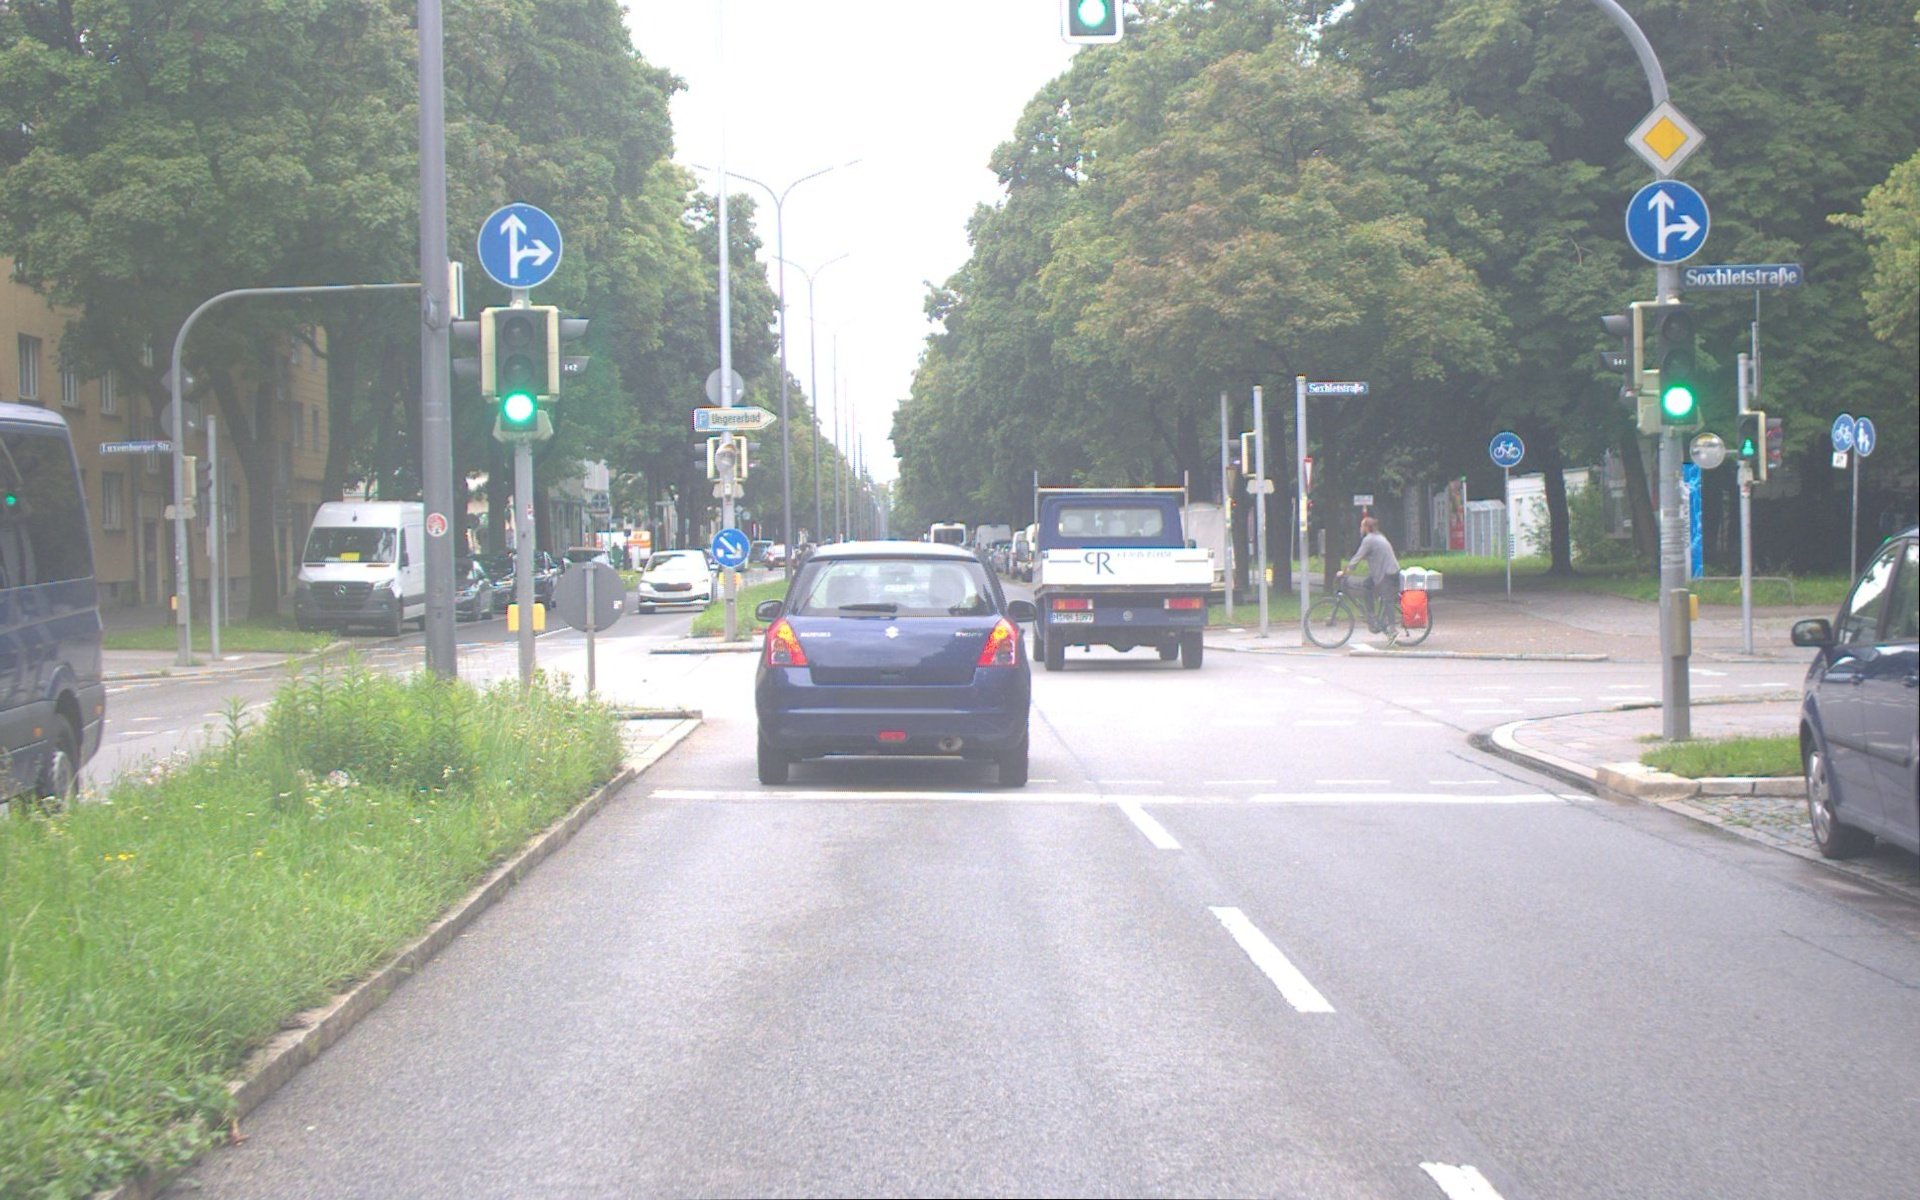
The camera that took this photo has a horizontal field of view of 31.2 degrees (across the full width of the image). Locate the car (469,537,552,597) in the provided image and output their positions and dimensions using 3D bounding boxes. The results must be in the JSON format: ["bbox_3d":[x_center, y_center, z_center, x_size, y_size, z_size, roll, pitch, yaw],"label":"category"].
[{"bbox_3d":[-11.535,-0.858,88.368,1.636,1.437,3.735,-2,1,-1],"label":"car"}]

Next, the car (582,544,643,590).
[{"bbox_3d":[-11.508,-1.115,113.949,1.636,1.437,3.735,-2,1,-1],"label":"car"}]

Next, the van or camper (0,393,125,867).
[{"bbox_3d":[-5.572,0.173,15.991,2.023,2.253,6.023,-2,1,-2],"label":"van or camper"}]

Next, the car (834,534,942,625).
[{"bbox_3d":[-1.262,-0.372,59.821,1.799,1.494,3.660,-1,1,-2],"label":"car"}]

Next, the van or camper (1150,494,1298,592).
[{"bbox_3d":[4.923,-1.080,64.790,2.125,1.787,4.508,0,1,-4],"label":"van or camper"}]

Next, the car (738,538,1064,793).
[{"bbox_3d":[-0.465,0.355,22.111,1.896,1.494,3.661,0,1,-4],"label":"car"}]

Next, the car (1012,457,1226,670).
[{"bbox_3d":[1.868,-0.469,42.099,2.418,2.435,5.087,0,1,1],"label":"car"}]

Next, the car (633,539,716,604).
[{"bbox_3d":[-6.693,-0.683,80.847,1.636,1.437,3.735,-2,1,-1],"label":"car"}]

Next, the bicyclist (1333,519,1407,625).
[{"bbox_3d":[5.770,-0.399,48.456,0.930,1.474,0.990,0,1,1],"label":"bicyclist"}]

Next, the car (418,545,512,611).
[{"bbox_3d":[-11.439,-0.524,79.601,1.636,1.437,3.735,-2,1,-1],"label":"car"}]

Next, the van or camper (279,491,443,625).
[{"bbox_3d":[-11.756,-0.857,67.953,2.140,2.467,6.259,-2,1,-1],"label":"van or camper"}]

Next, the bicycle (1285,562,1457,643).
[{"bbox_3d":[5.783,0.032,48.464,2.297,1.110,0.996,0,1,1],"label":"bicycle"}]

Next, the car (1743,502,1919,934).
[{"bbox_3d":[4.709,0.401,14.842,1.763,1.652,4.283,-5,1,3],"label":"car"}]
